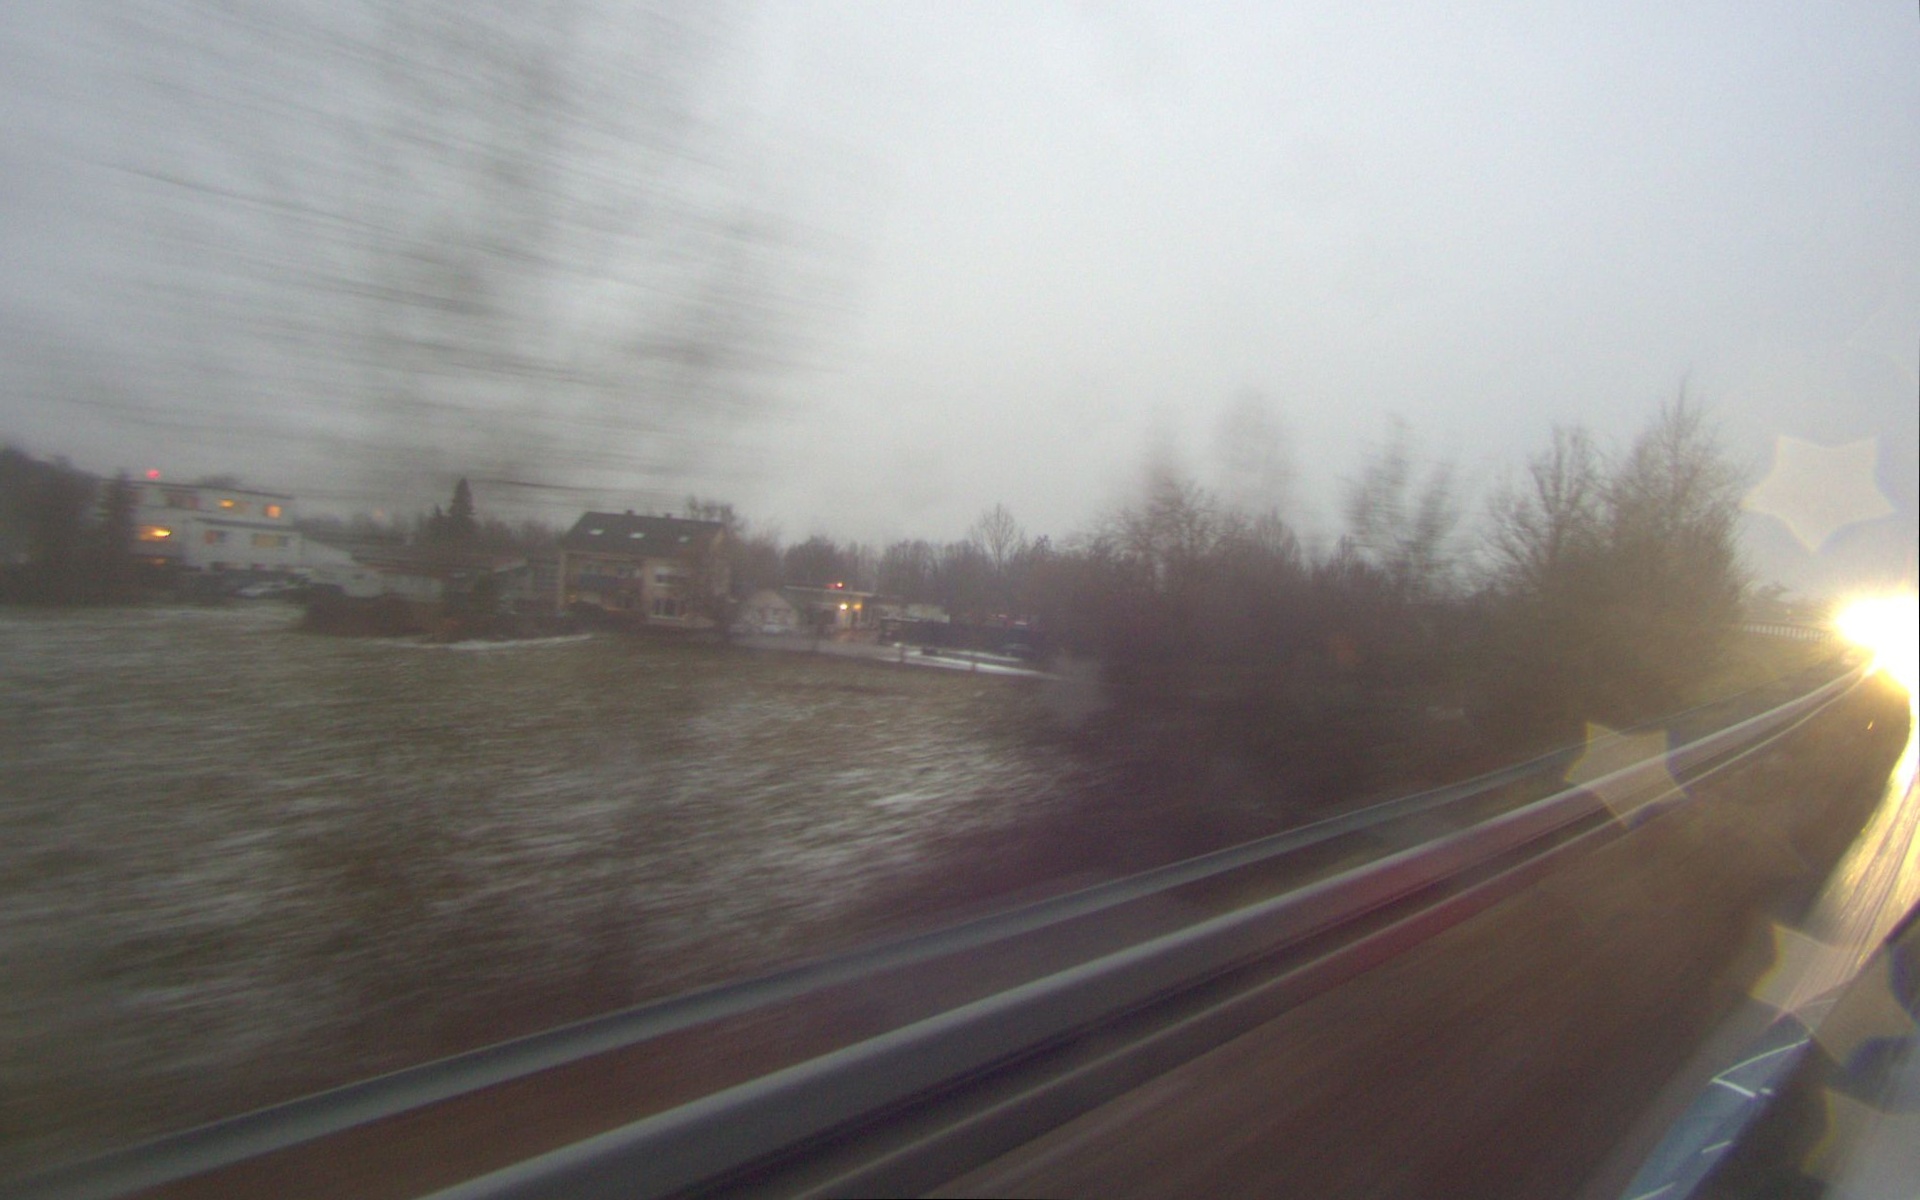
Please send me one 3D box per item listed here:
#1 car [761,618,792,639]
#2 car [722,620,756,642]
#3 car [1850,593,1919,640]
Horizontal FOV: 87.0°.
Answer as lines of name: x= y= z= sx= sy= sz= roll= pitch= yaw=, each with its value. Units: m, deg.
car: x=-17.459 y=2.713 z=96.342 sx=1.964 sy=1.749 sz=3.995 roll=2 pitch=1 yaw=4
car: x=-20.220 y=2.820 z=92.647 sx=1.964 sy=1.749 sz=3.995 roll=2 pitch=1 yaw=4
car: x=37.511 y=0.699 z=40.719 sx=2.093 sy=1.595 sz=4.733 roll=4 pitch=0 yaw=37
